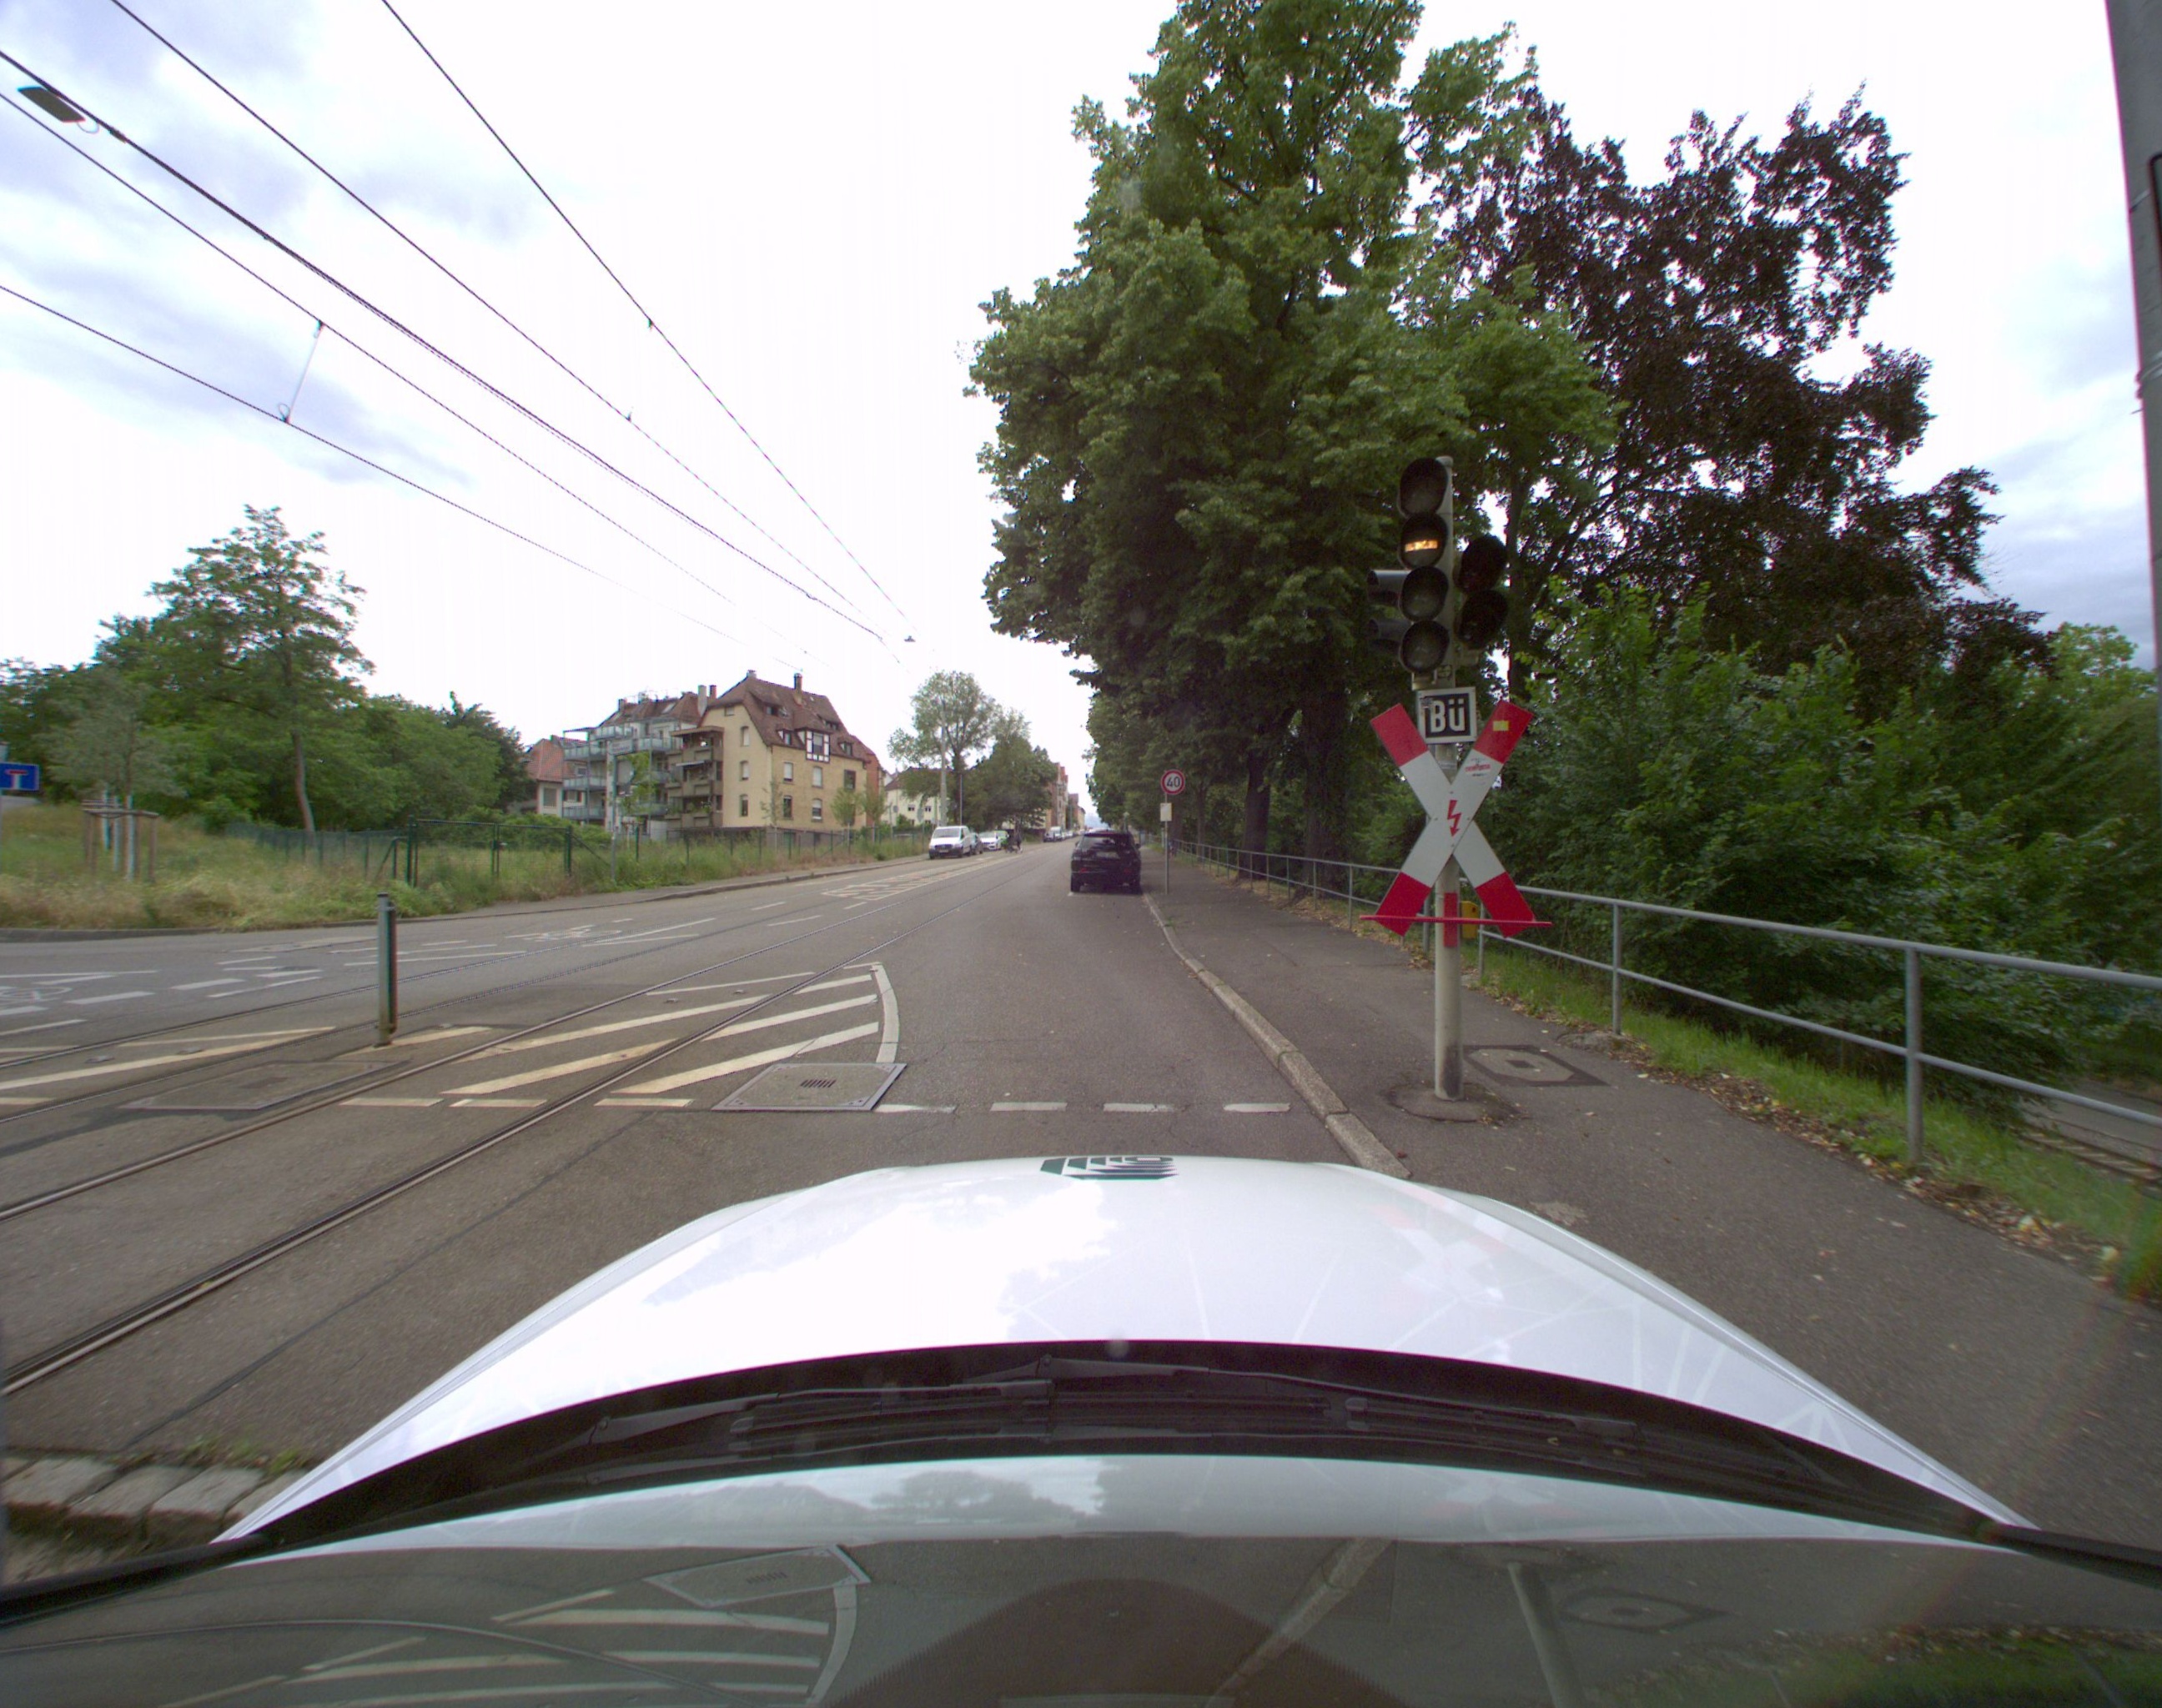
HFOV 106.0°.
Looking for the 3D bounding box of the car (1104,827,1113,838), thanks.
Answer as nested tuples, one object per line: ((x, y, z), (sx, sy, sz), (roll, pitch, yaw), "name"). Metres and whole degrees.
((6.665, -5.088, 195.944), (1.985, 2.574, 4.708), (-1, 1, 2), "car")

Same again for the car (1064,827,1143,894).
((0.682, 0.097, 22.130), (1.896, 1.614, 4.605), (1, 2, 3), "car")

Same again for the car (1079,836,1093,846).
((0.778, -1.911, 122.105), (1.986, 1.498, 4.314), (0, 1, 2), "car")

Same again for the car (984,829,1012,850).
((-6.898, -1.224, 67.920), (1.716, 1.579, 4.184), (-1, 1, 2), "car")

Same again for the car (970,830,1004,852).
((-7.119, -1.000, 62.257), (1.878, 1.526, 4.666), (-2, 1, 2), "car")

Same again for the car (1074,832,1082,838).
((-0.878, -5.371, 226.313), (1.986, 1.601, 4.002), (0, 1, 2), "car")

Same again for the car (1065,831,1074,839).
((-2.675, -4.332, 186.806), (1.916, 1.601, 4.003), (0, 1, 2), "car")

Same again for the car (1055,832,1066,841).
((-3.799, -3.253, 153.297), (1.987, 1.600, 4.312), (0, 1, 0), "car")

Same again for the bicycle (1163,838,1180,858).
((4.570, -0.314, 41.159), (0.427, 0.976, 1.790), (0, 1, -8), "bicycle")

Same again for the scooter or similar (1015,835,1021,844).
((-9.567, -2.256, 123.633), (0.688, 1.338, 1.640), (0, 1, 3), "scooter or similar")

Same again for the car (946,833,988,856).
((-7.474, -0.662, 53.790), (1.889, 1.432, 4.514), (-1, 2, 2), "car")

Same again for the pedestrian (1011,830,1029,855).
((-4.074, -0.775, 54.404), (0.904, 1.628, 0.812), (1, 1, 39), "pedestrian")

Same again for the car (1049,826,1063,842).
((-4.335, -3.461, 142.982), (2.223, 2.764, 5.799), (0, 1, 0), "car")

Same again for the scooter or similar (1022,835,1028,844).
((-8.477, -2.249, 123.603), (0.688, 1.338, 1.640), (0, 1, 3), "scooter or similar")

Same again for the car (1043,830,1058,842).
((-4.786, -2.775, 128.497), (1.985, 1.808, 4.004), (0, 1, 3), "car")

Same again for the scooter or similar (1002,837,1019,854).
((-4.751, -0.577, 54.887), (0.828, 1.196, 0.812), (1, 1, 39), "scooter or similar")

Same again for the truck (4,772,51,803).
((-136.621, -8.570, 105.708), (8.094, 3.600, 3.583), (1, 1, 39), "truck")

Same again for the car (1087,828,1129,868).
((1.210, -0.320, 37.820), (1.720, 1.631, 4.089), (3, 2, 0), "car")

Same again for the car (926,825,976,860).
((-7.637, -0.687, 48.201), (2.029, 1.881, 4.886), (-3, 1, 1), "car")
